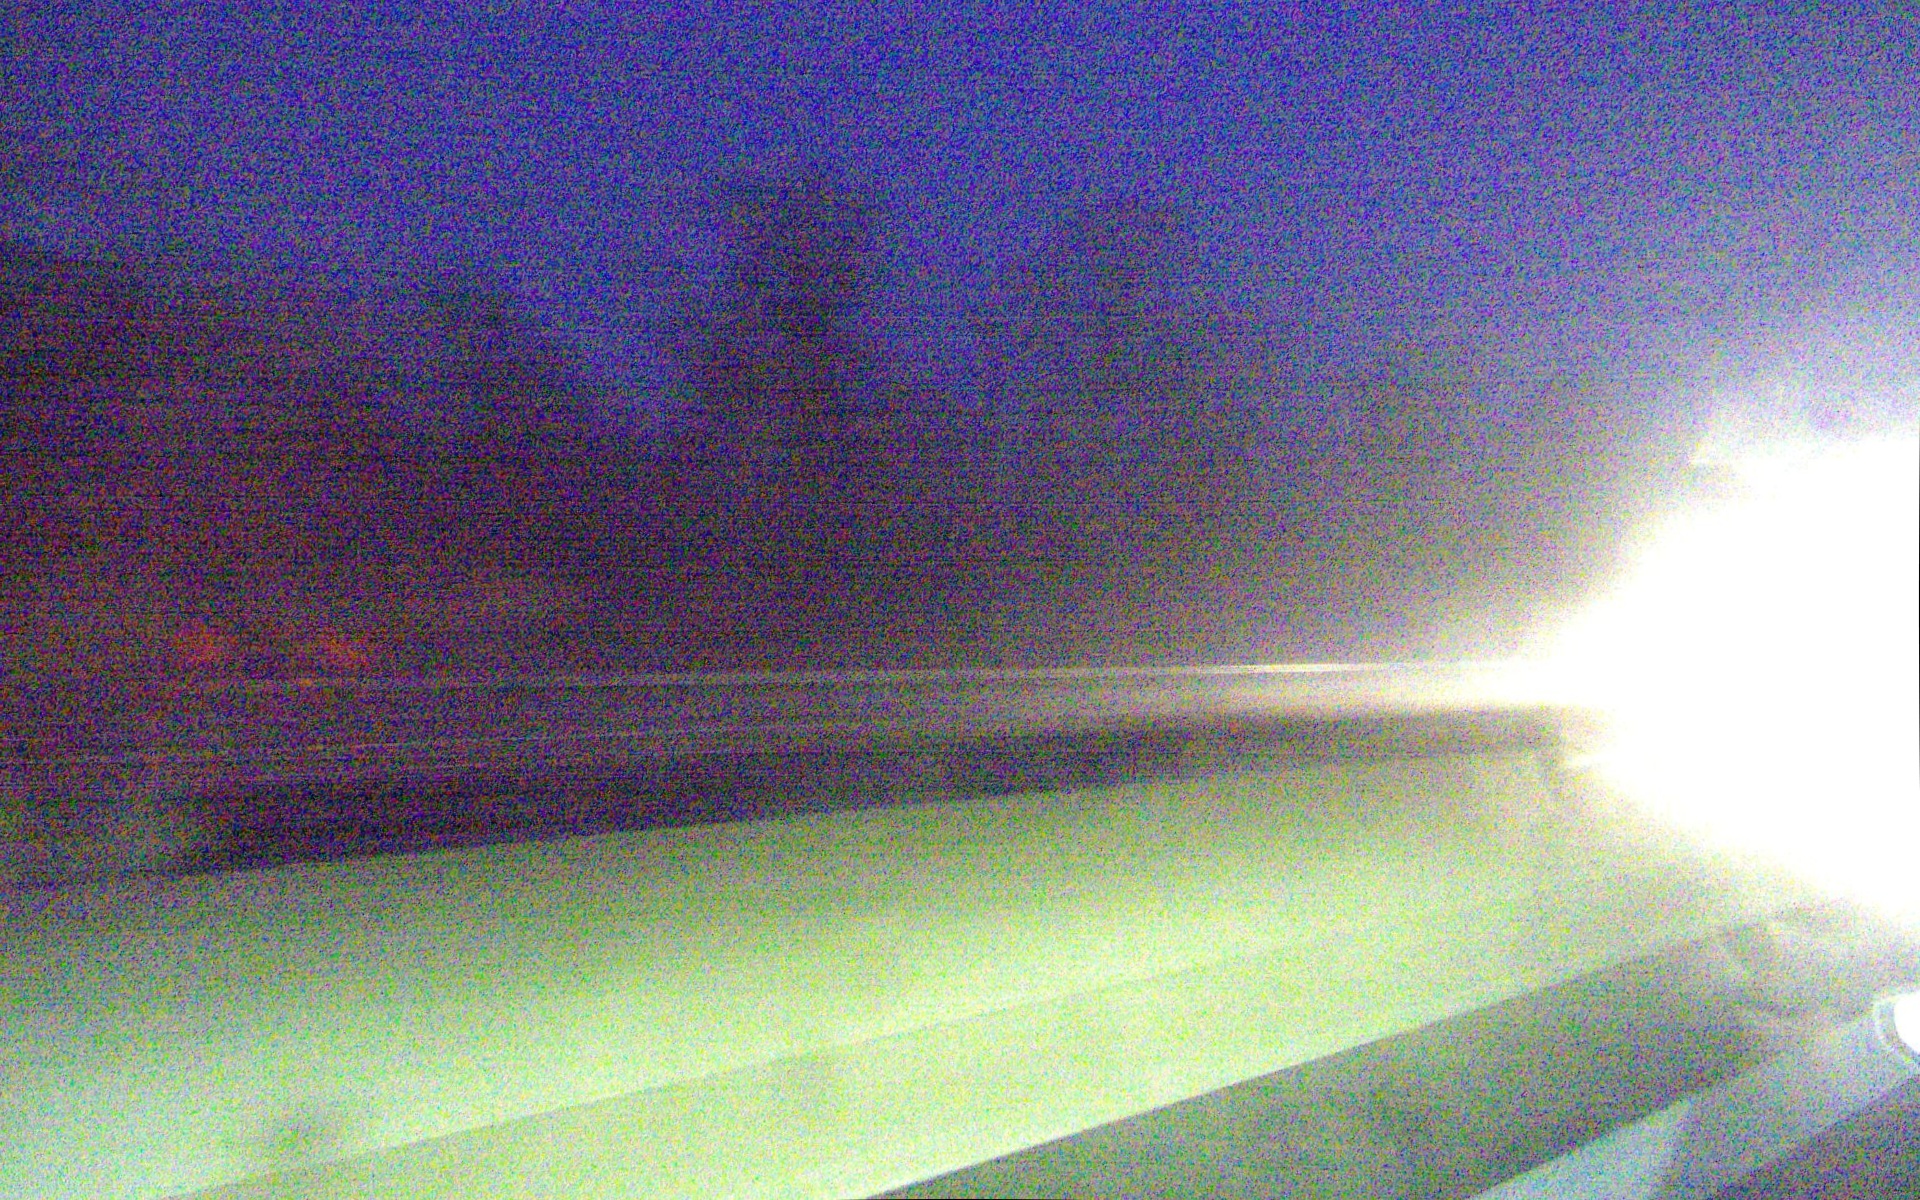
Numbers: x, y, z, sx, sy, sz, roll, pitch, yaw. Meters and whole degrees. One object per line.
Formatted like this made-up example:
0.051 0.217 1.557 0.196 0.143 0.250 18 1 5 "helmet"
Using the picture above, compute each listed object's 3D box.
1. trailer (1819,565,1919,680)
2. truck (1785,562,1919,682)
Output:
42.213 0.871 43.385 15.532 4.362 2.872 0 1 -31 "trailer"
35.826 0.806 39.645 6.666 4.393 2.872 0 1 -30 "truck"
